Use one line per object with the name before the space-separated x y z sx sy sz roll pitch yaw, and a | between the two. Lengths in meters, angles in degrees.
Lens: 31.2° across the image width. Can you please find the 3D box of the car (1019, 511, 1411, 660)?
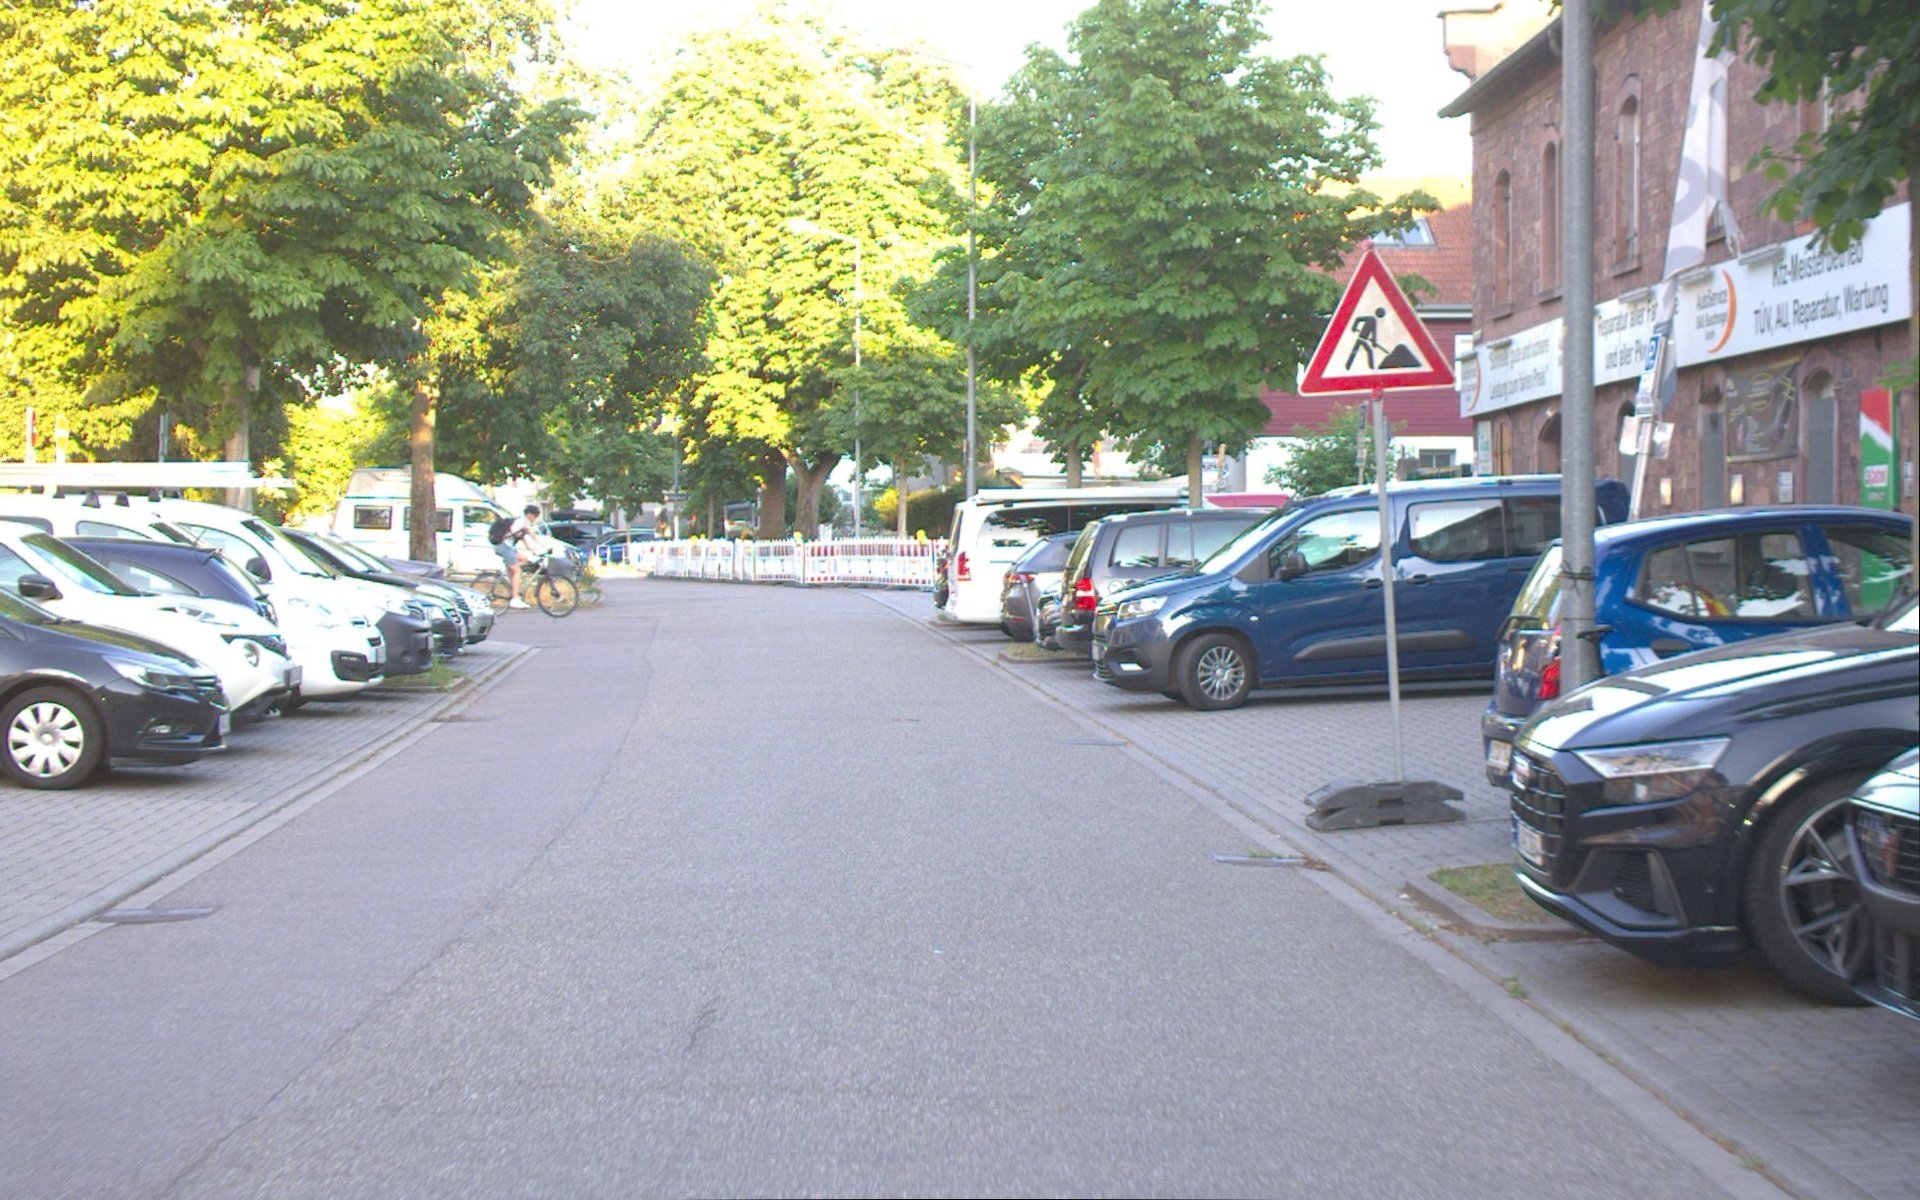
car | 2.715 -0.163 37.156 3.945 1.560 1.821 0 1 -6

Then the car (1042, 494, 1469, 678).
car | 2.932 -0.161 34.722 3.986 1.613 1.895 -3 1 -4

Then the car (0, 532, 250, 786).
car | -6.756 0.277 21.193 4.407 1.447 1.828 2 1 -4

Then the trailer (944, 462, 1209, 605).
trailer | 1.795 -1.040 53.954 3.986 2.180 2.000 0 1 -3

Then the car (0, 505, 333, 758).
car | -6.635 0.161 23.858 4.243 1.615 1.813 2 2 -2

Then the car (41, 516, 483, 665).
car | -7.387 -0.115 36.681 4.326 1.400 1.852 2 1 -1

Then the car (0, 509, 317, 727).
car | -7.099 0.073 26.409 3.986 1.479 1.756 3 1 -3

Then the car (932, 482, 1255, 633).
car | 1.688 -0.559 44.559 3.986 1.897 2.000 0 1 -4

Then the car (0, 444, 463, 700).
car | -7.005 -0.296 31.464 4.512 2.063 2.000 3 2 1

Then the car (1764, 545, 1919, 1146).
car | 4.373 0.499 9.036 3.987 1.491 1.892 -4 1 0

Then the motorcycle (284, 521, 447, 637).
motorcycle | -7.436 -0.264 43.042 1.985 1.431 0.722 0 1 -7

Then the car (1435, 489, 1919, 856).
car | 4.490 0.252 16.662 3.987 1.540 1.845 -4 1 -2

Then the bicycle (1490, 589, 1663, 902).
bicycle | 2.529 0.563 14.232 0.308 1.188 1.763 0 1 -3

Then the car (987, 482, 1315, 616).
car | 2.574 -0.699 47.141 4.300 1.793 1.904 0 1 -3

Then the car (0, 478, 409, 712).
car | -6.990 -0.088 28.726 4.421 1.796 1.943 2 1 0

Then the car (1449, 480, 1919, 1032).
car | 4.197 0.356 11.672 4.695 1.626 2.000 -4 1 0

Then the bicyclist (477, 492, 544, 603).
bicyclist | -7.087 -0.830 54.170 0.837 1.720 0.801 0 1 -26

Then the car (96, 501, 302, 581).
car | -17.909 -1.390 81.130 4.672 1.867 2.001 0 1 -10

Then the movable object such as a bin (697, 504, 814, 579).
movable object such as a bin | -6.706 -1.908 112.122 2.627 2.394 5.199 0 1 -18

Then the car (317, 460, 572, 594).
car | -10.083 -1.427 67.496 4.731 2.560 2.000 0 1 -2

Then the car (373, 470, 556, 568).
car | -12.500 -2.029 86.598 4.501 2.422 2.001 0 1 -10

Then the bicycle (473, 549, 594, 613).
bicycle | -6.741 -0.306 54.376 1.857 0.995 0.374 0 1 -24

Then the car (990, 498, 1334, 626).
car | 2.416 -0.466 41.772 3.986 1.504 1.777 0 1 -3

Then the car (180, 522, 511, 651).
car | -7.364 -0.175 41.431 3.713 1.501 1.690 0 1 -1

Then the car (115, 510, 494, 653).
car | -7.378 -0.221 38.972 3.987 1.578 1.729 0 1 -1

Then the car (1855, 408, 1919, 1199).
car | 4.369 0.345 6.708 4.587 1.855 2.012 -5 1 0

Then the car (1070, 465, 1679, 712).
car | 3.455 -0.133 29.292 4.786 1.748 2.018 -3 2 -3
